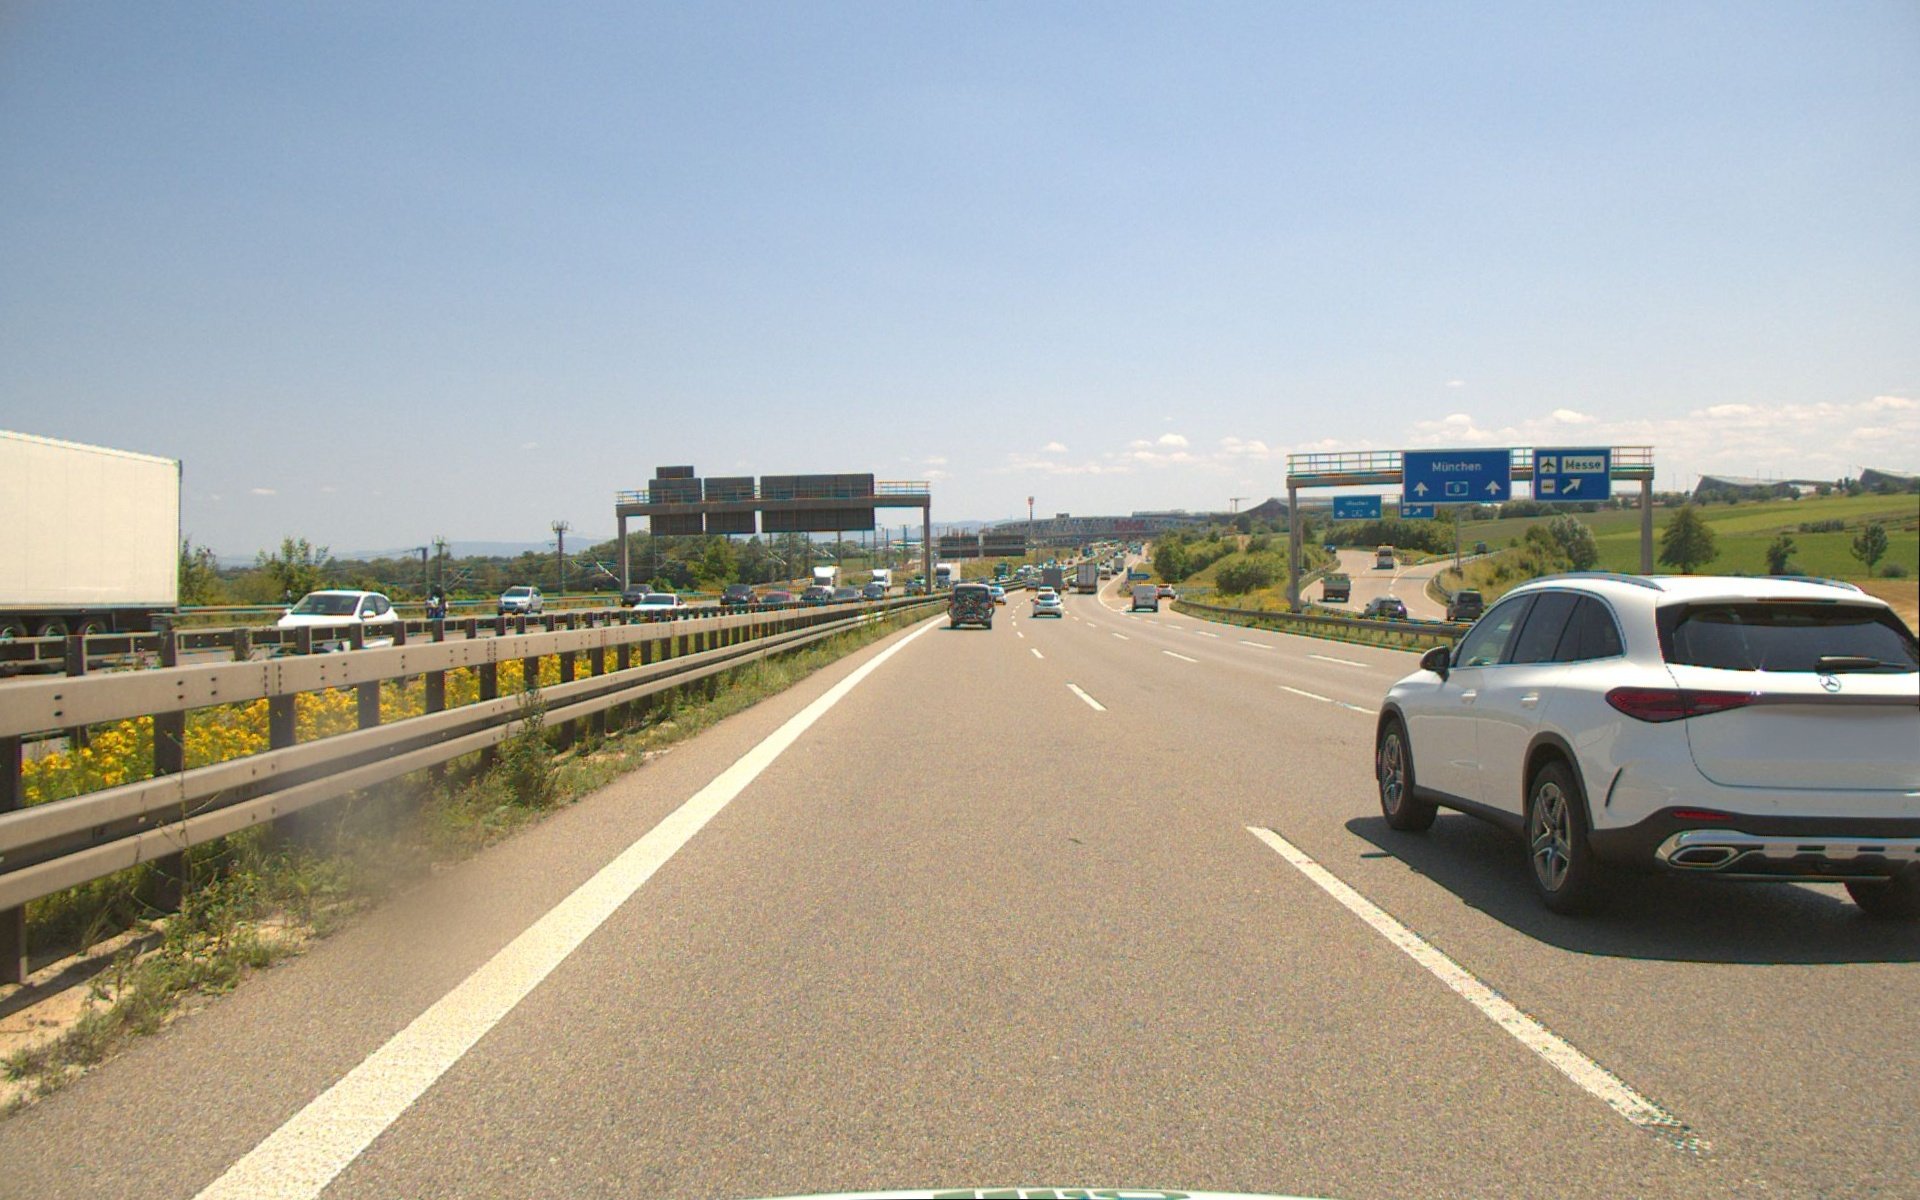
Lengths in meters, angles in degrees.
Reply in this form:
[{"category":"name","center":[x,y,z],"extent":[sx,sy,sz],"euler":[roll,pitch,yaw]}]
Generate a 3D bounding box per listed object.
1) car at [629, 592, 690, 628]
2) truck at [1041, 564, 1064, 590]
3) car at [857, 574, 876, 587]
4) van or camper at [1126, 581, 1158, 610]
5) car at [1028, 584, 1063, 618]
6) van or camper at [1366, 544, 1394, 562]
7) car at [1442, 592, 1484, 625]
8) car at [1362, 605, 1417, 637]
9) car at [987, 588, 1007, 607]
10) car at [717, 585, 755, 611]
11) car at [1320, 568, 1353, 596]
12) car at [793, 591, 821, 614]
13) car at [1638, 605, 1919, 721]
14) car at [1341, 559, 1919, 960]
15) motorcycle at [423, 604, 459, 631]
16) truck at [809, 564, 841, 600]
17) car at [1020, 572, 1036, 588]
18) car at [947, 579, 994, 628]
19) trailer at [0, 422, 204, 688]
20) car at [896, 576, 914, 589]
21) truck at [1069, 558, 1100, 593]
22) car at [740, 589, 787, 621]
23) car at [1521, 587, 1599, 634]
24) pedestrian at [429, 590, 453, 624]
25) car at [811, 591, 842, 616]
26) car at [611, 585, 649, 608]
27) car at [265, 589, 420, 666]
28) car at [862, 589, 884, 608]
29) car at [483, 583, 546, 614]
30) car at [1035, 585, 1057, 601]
[{"category":"car","center":[-12.549,0.382,69.306],"extent":[1.623,1.428,4.759],"euler":[1,0,0]},{"category":"truck","center":[11.867,-2.867,211.896],"extent":[2.645,3.163,10.665],"euler":[0,0,5]},{"category":"car","center":[-10.887,-2.276,192.682],"extent":[1.866,1.445,4.002],"euler":[0,1,2]},{"category":"van or camper","center":[13.312,-0.320,121.143],"extent":[2.110,2.049,4.306],"euler":[0,0,4]},{"category":"car","center":[5.074,0.051,98.520],"extent":[1.887,1.952,4.518],"euler":[0,0,1]},{"category":"van or camper","center":[50.213,-5.590,197.845],"extent":[2.475,2.049,4.463],"euler":[0,0,4]},{"category":"car","center":[30.565,0.502,100.612],"extent":[1.897,1.957,4.183],"euler":[0,0,9]},{"category":"car","center":[23.146,1.114,89.311],"extent":[1.952,1.624,4.000],"euler":[0,0,0]},{"category":"car","center":[3.233,-0.238,142.308],"extent":[1.543,1.579,3.966],"euler":[0,0,4]},{"category":"car","center":[-15.063,-0.160,111.362],"extent":[1.809,1.684,4.910],"euler":[1,0,0]},{"category":"car","center":[29.270,-1.384,128.565],"extent":[1.951,2.049,4.002],"euler":[0,0,4]},{"category":"car","center":[-11.259,0.178,122.101],"extent":[1.641,1.653,4.085],"euler":[0,0,0]},{"category":"car","center":[11.528,0.818,23.678],"extent":[1.749,1.462,4.848],"euler":[0,0,1]},{"category":"car","center":[3.744,0.671,9.435],"extent":[1.860,1.676,4.997],"euler":[0,0,-2]},{"category":"motorcycle","center":[-20.465,0.673,65.270],"extent":[0.644,1.033,2.488],"euler":[0,0,0]},{"category":"truck","center":[-12.945,-1.671,159.236],"extent":[2.327,3.334,7.661],"euler":[0,0,0]},{"category":"car","center":[9.822,-2.908,238.654],"extent":[2.140,2.037,4.004],"euler":[1,3,3]},{"category":"car","center":[0.465,0.148,69.050],"extent":[1.887,1.952,4.949],"euler":[0,0,1]},{"category":"trailer","center":[-17.064,-0.751,27.853],"extent":[2.973,4.314,12.248],"euler":[1,0,0]},{"category":"car","center":[-6.548,-2.112,198.342],"extent":[1.753,1.489,4.861],"euler":[0,1,2]},{"category":"truck","center":[16.919,-3.408,224.304],"extent":[3.954,4.335,11.767],"euler":[0,3,5]},{"category":"car","center":[-9.451,0.214,79.779],"extent":[1.623,1.449,4.776],"euler":[1,0,0]},{"category":"car","center":[25.690,0.448,70.958],"extent":[1.899,1.957,4.180],"euler":[0,0,1]},{"category":"pedestrian","center":[-20.465,0.282,65.214],"extent":[0.637,1.339,1.035],"euler":[0,0,0]},{"category":"car","center":[-8.825,0.216,109.835],"extent":[1.641,1.643,4.362],"euler":[0,0,0]},{"category":"car","center":[-23.088,-0.246,115.817],"extent":[1.809,1.558,4.223],"euler":[1,0,0]},{"category":"car","center":[-12.907,0.538,34.825],"extent":[1.705,1.515,4.008],"euler":[1,0,0]},{"category":"car","center":[-7.924,-0.158,150.945],"extent":[1.712,1.653,4.831],"euler":[0,0,0]},{"category":"car","center":[-23.190,-0.091,86.314],"extent":[2.062,1.558,4.372],"euler":[1,0,0]},{"category":"car","center":[8.188,-0.660,157.377],"extent":[1.940,1.499,4.002],"euler":[0,0,5]}]
